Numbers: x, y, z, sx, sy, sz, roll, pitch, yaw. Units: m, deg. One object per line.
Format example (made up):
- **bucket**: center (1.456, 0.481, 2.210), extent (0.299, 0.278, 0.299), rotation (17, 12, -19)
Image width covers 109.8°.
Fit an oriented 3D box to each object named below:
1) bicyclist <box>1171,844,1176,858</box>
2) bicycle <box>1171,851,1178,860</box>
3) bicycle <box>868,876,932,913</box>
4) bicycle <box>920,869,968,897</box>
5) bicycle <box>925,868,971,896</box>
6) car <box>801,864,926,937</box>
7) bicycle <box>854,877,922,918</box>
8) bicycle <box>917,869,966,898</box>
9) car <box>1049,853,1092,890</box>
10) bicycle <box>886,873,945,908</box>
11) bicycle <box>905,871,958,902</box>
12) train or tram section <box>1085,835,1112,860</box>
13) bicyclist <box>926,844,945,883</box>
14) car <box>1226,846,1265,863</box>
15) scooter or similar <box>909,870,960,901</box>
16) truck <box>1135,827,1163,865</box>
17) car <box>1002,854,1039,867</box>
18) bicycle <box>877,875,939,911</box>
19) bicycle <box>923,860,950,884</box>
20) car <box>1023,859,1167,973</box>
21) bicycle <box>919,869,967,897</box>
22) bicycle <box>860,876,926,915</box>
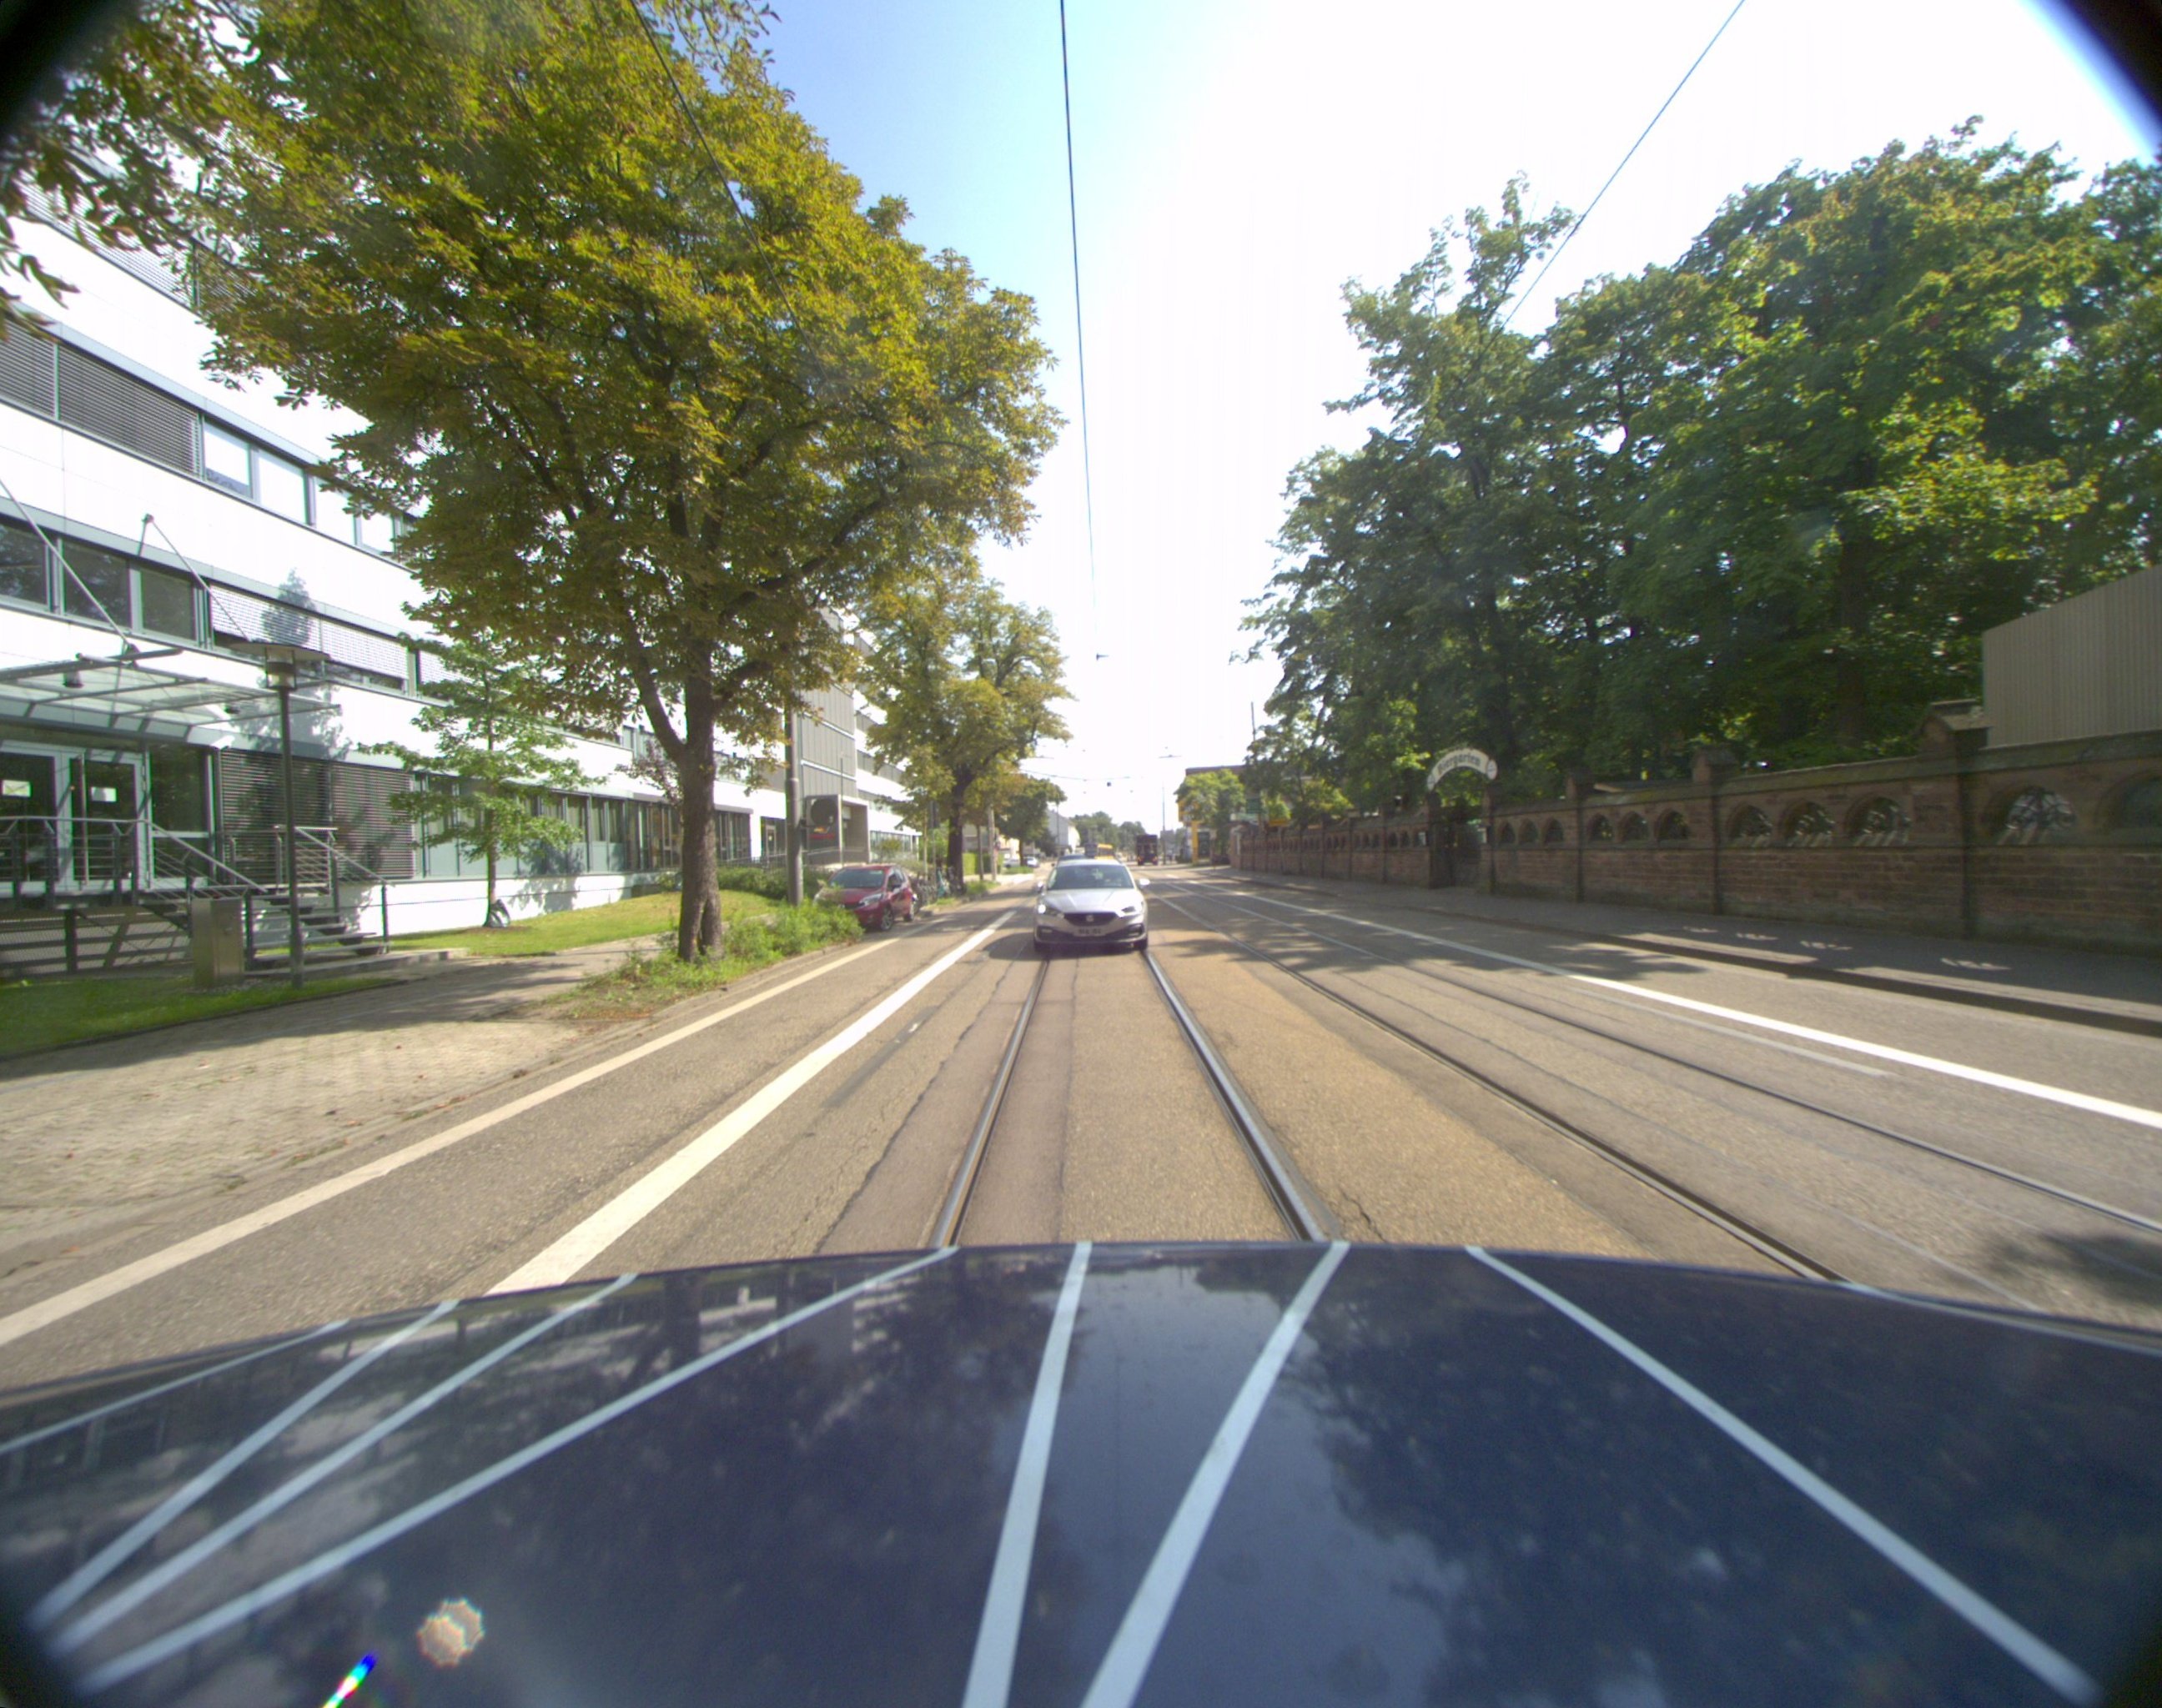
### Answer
- **bicyclist**: center (12.858, -0.373, 105.572), extent (0.642, 1.918, 1.176), rotation (-2, 1, 9)
- **bicycle**: center (12.943, 0.233, 105.593), extent (0.787, 1.233, 2.035), rotation (-3, 0, 10)
- **bicycle**: center (-5.436, 1.204, 22.821), extent (1.775, 1.065, 0.540), rotation (-1, 1, 0)
- **bicycle**: center (-5.440, 1.141, 30.138), extent (1.775, 1.065, 0.540), rotation (-1, 1, 0)
- **bicycle**: center (-5.385, 1.133, 30.833), extent (1.775, 1.065, 0.540), rotation (-1, 1, 0)
- **car**: center (-5.170, 1.044, 18.672), extent (1.760, 1.453, 4.274), rotation (-1, 0, 1)
- **bicycle**: center (-5.417, 1.216, 21.372), extent (1.775, 1.065, 0.540), rotation (-1, 1, 0)
- **bicycle**: center (-5.414, 1.146, 29.537), extent (1.775, 1.065, 0.540), rotation (-1, 1, 0)
- **car**: center (-0.467, 0.779, 35.488), extent (1.834, 1.543, 4.032), rotation (-2, 1, 0)
- **bicycle**: center (-5.364, 1.185, 24.734), extent (1.775, 1.065, 0.540), rotation (-1, 1, 0)
- **bicycle**: center (-5.360, 1.162, 27.316), extent (1.775, 1.065, 0.540), rotation (-1, 1, 0)
- **train or tram section**: center (3.145, -1.150, 132.296), extent (4.111, 3.711, 24.378), rotation (-2, 1, 2)
- **bicyclist**: center (-7.616, 0.484, 39.928), extent (0.783, 2.002, 1.274), rotation (-2, 1, -5)
- **car**: center (15.258, 0.016, 70.457), extent (1.933, 1.452, 4.536), rotation (-2, 1, 34)
- **scooter or similar**: center (-5.374, 1.158, 27.904), extent (1.775, 1.065, 0.540), rotation (-1, 1, 0)
- **truck**: center (9.114, -1.093, 100.088), extent (3.171, 4.427, 16.846), rotation (-2, 1, 7)
- **car**: center (-7.554, 0.803, 95.583), extent (4.552, 1.506, 1.960), rotation (-2, 1, -4)
- **bicycle**: center (-5.376, 1.195, 23.632), extent (1.775, 1.065, 0.540), rotation (-1, 1, 0)
- **bicycle**: center (-7.612, 0.927, 40.045), extent (1.139, 1.118, 2.535), rotation (-2, 1, -6)
- **car**: center (0.202, 0.858, 12.818), extent (1.928, 1.465, 4.816), rotation (-2, 0, 0)
- **bicycle**: center (-5.451, 1.142, 30.116), extent (1.775, 1.065, 0.540), rotation (-1, 1, 0)
- **bicycle**: center (-5.470, 1.211, 22.147), extent (1.775, 1.065, 0.540), rotation (-1, 1, 0)
